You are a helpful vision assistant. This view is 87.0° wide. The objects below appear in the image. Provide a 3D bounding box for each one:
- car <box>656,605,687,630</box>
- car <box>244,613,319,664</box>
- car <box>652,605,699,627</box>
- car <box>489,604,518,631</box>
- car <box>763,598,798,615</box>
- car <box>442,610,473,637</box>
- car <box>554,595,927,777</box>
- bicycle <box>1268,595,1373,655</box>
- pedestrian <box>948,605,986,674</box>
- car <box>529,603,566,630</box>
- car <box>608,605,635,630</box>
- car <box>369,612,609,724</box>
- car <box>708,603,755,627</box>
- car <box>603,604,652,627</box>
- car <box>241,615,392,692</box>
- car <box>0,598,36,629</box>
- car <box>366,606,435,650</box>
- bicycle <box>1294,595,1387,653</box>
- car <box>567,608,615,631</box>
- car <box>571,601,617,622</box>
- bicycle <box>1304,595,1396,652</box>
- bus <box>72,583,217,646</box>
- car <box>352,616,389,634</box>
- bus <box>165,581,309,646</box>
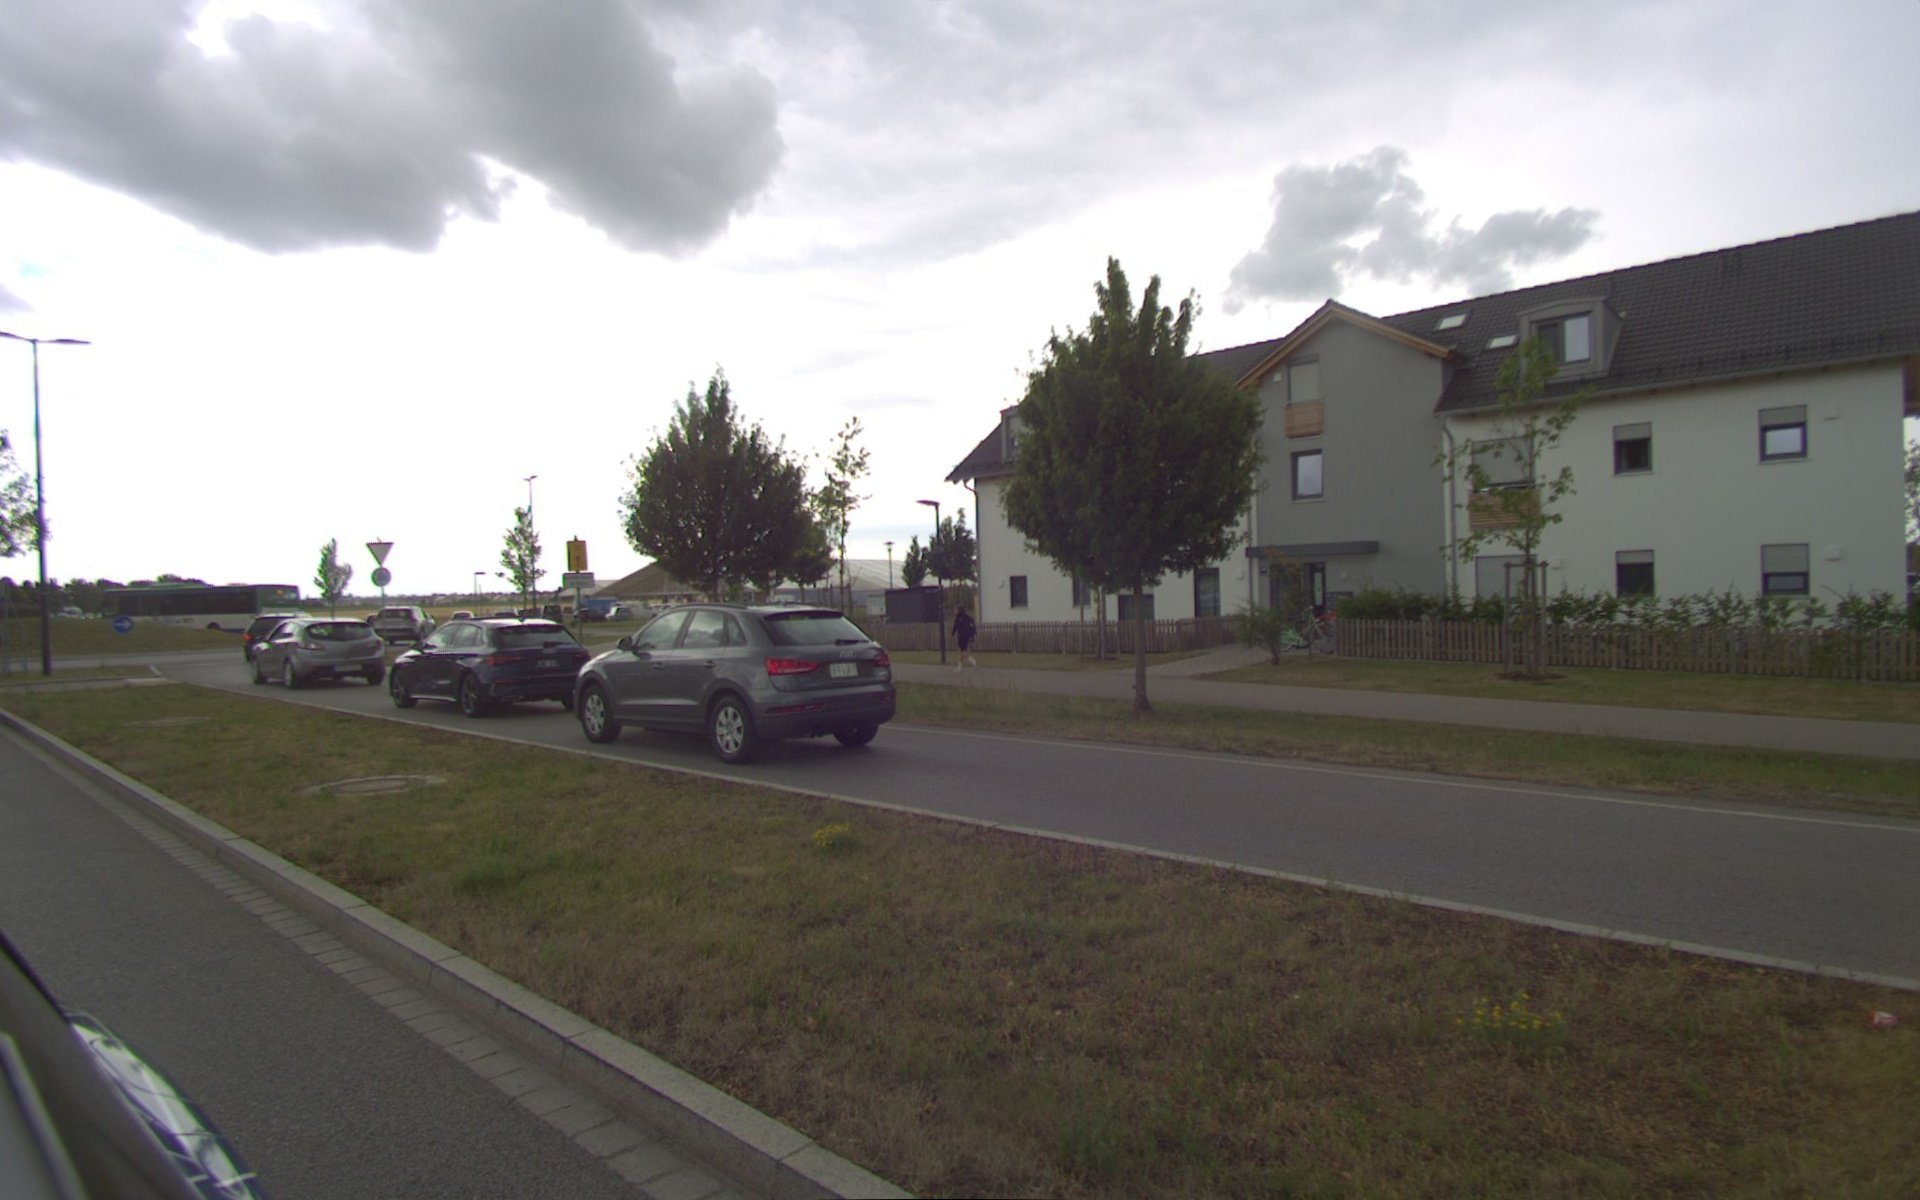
[{"bbox_3d":[-24.368,1.441,85.351,2.194,2.029,4.013,0,-1,-21],"label":"car"},{"bbox_3d":[-21.579,1.199,32.333,1.800,1.500,4.350,0,-1,-31],"label":"car"},{"bbox_3d":[-26.146,1.456,93.134,1.991,2.029,3.961,-1,-1,28],"label":"car"},{"bbox_3d":[-35.471,1.397,78.653,1.965,2.029,4.013,0,-1,-24],"label":"car"},{"bbox_3d":[-22.225,0.758,125.424,1.991,2.029,4.523,-1,-1,28],"label":"car"},{"bbox_3d":[-38.609,1.793,77.773,1.965,2.029,4.013,0,-1,-24],"label":"car"},{"bbox_3d":[-2.518,0.796,11.005,4.214,1.594,1.806,-2,-1,41],"label":"car"},{"bbox_3d":[8.890,0.626,25.015,2.342,1.423,0.675,-2,-1,41],"label":"bicycle"},{"bbox_3d":[0.162,0.910,23.355,0.586,1.541,0.540,-2,1,41],"label":"pedestrian"},{"bbox_3d":[-32.529,1.301,79.733,1.966,2.029,4.011,0,-1,-34],"label":"car"},{"bbox_3d":[-28.311,1.484,84.590,1.965,2.029,4.013,0,-1,-21],"label":"car"},{"bbox_3d":[-7.436,0.972,15.783,4.348,1.500,1.806,-2,-1,41],"label":"car"},{"bbox_3d":[-20.492,1.340,90.825,1.991,2.029,3.961,-1,-1,28],"label":"car"},{"bbox_3d":[-30.860,1.435,93.912,1.994,2.029,3.956,-1,-1,32],"label":"car"},{"bbox_3d":[-14.016,1.102,21.954,4.216,1.500,1.805,-2,-1,43],"label":"car"},{"bbox_3d":[-53.576,0.764,55.951,1.967,1.697,4.010,-1,-1,-12],"label":"car"},{"bbox_3d":[-24.145,1.159,43.835,1.800,1.735,4.413,0,0,-18],"label":"car"},{"bbox_3d":[9.633,0.617,25.699,2.093,1.428,0.675,-2,-1,41],"label":"bicycle"},{"bbox_3d":[-34.414,1.814,94.462,1.991,2.029,3.961,-1,-1,28],"label":"car"},{"bbox_3d":[-36.003,1.119,99.533,1.991,2.029,3.961,-1,-1,28],"label":"car"},{"bbox_3d":[10.121,0.617,26.307,2.093,1.439,0.675,-2,-1,41],"label":"bicycle"},{"bbox_3d":[-45.449,0.844,56.472,6.638,3.305,2.980,-1,-1,15],"label":"bus"},{"bbox_3d":[-43.871,1.829,75.366,1.965,1.298,4.013,0,-1,-24],"label":"car"},{"bbox_3d":[-39.115,0.748,54.840,6.423,3.305,2.980,-1,-1,15],"label":"bus"}]
